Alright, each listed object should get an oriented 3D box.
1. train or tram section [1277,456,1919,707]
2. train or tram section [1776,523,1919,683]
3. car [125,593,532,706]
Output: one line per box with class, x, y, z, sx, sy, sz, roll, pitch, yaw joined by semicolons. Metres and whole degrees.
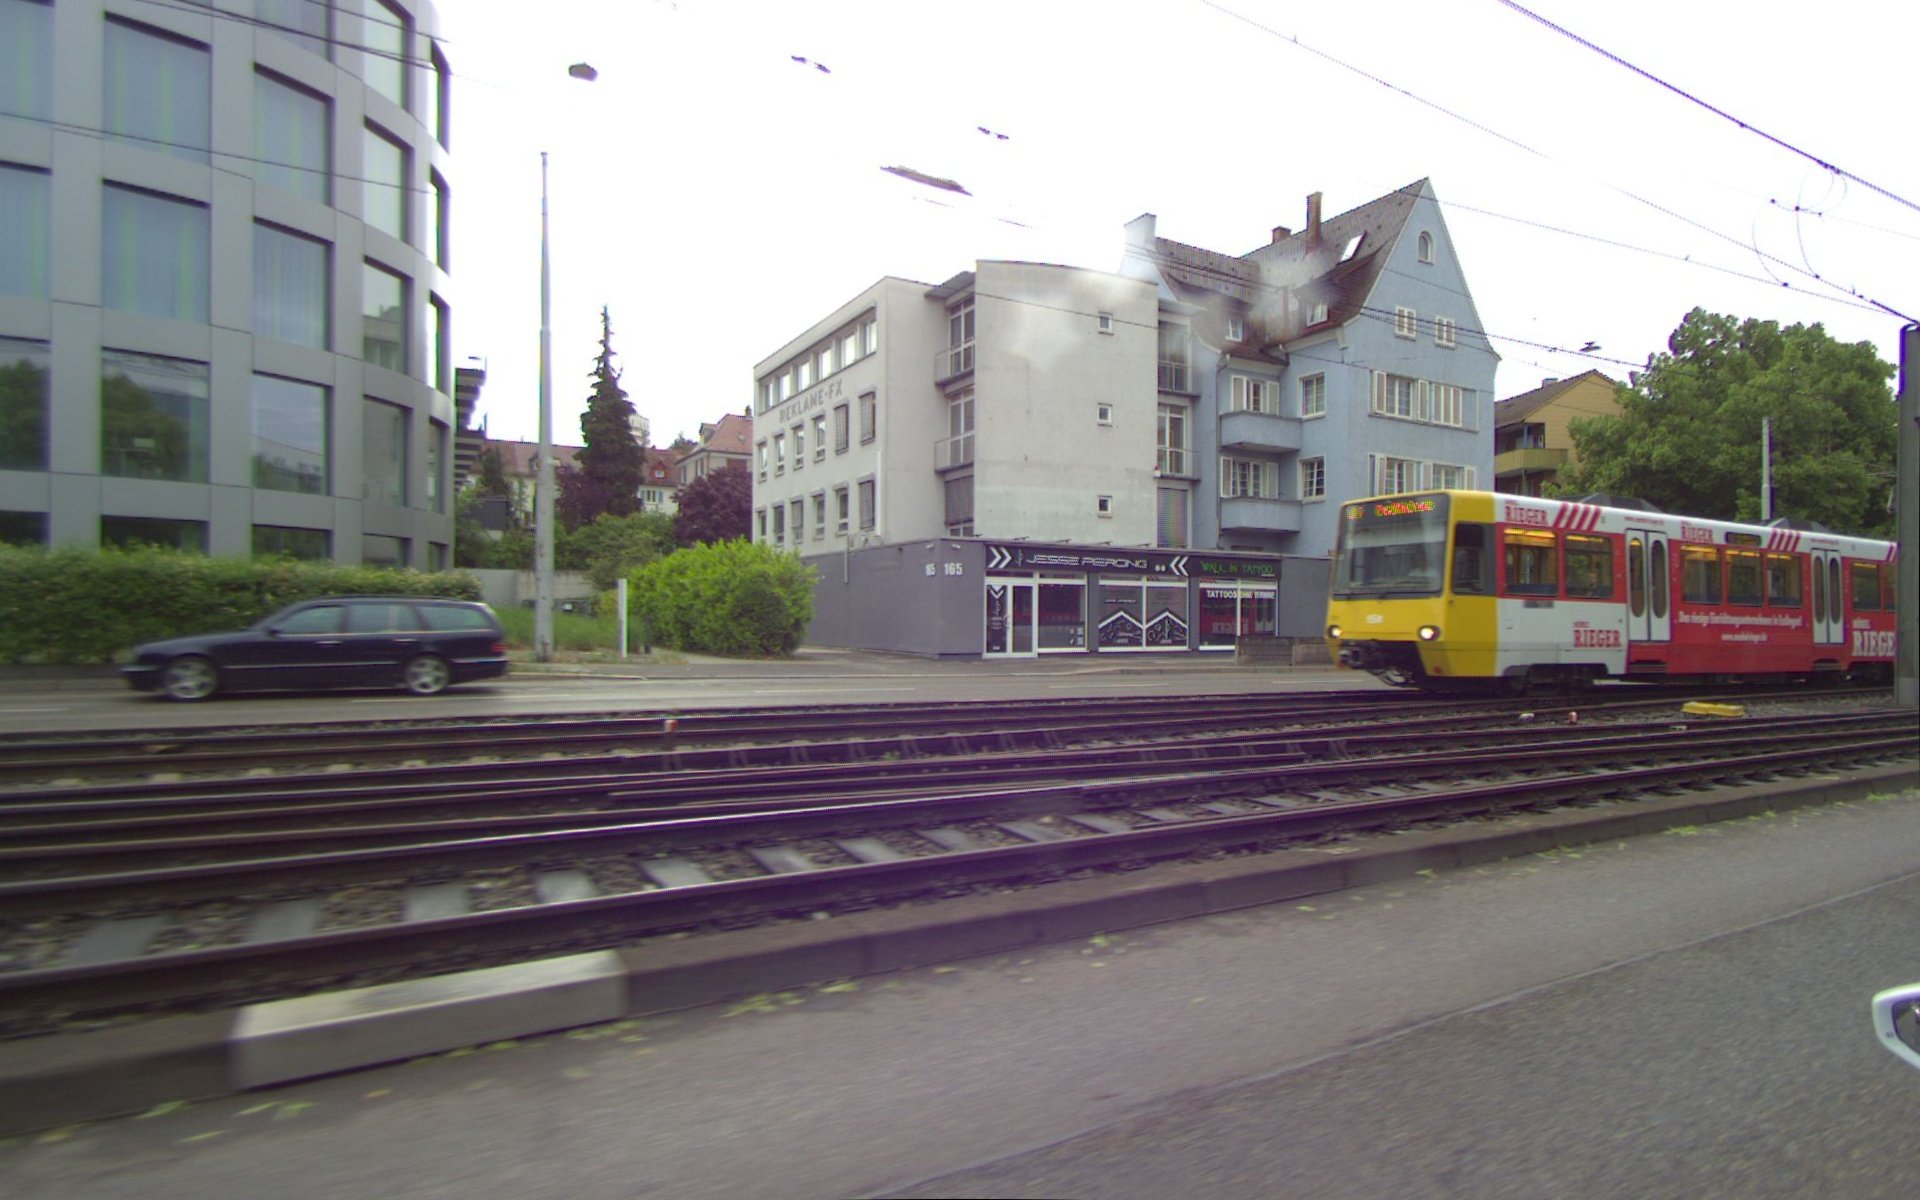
train or tram section;14.472;-0.101;21.151;18.383;3.861;2.955;1;-1;-29
train or tram section;30.627;0.255;30.005;18.383;3.861;2.955;1;-1;-29
car;-9.163;0.693;15.077;4.865;1.470;1.897;1;0;-30
